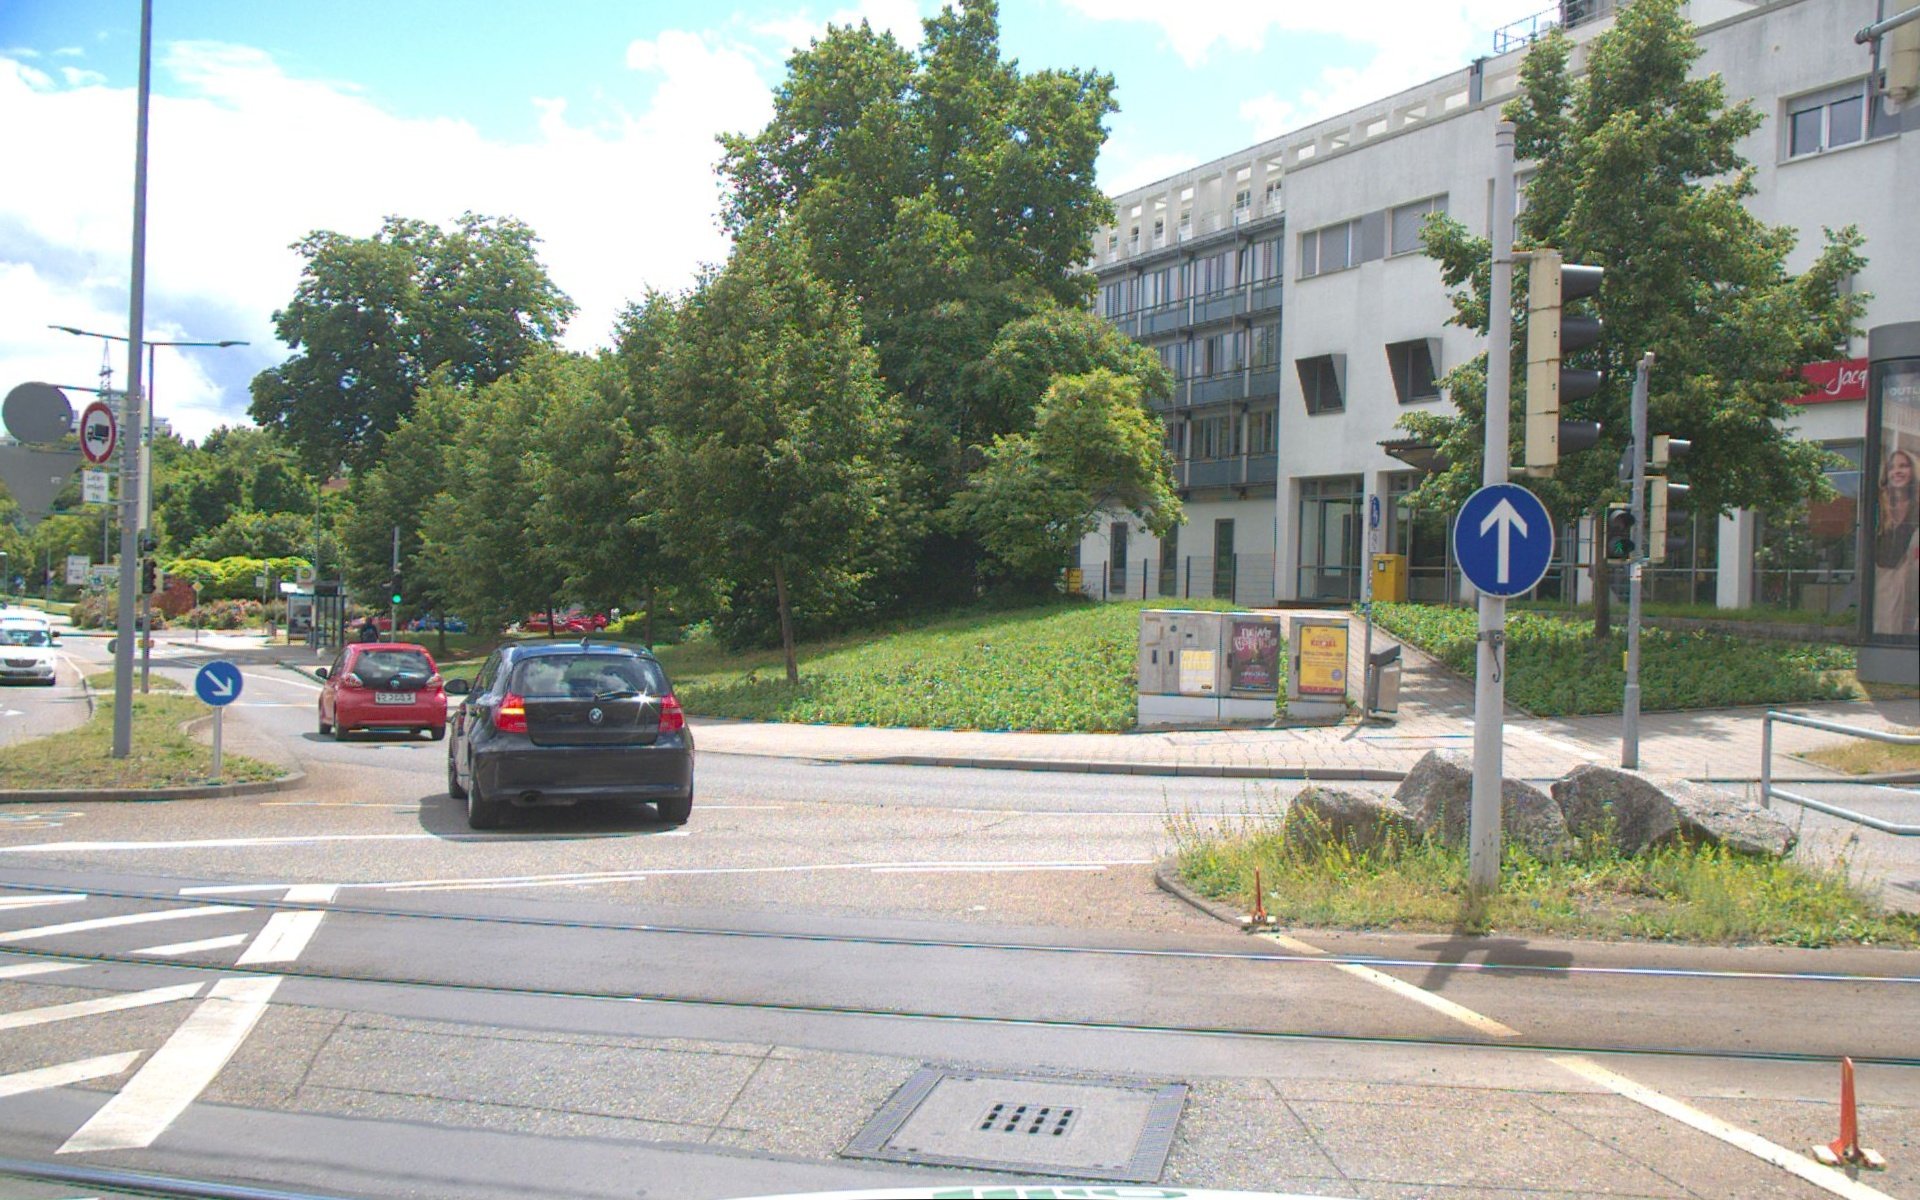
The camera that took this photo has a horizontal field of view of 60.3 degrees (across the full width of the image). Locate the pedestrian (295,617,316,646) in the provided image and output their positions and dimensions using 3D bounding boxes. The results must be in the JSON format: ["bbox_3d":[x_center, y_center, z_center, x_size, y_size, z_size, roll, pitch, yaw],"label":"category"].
[{"bbox_3d":[-30.208,1.455,76.328,0.818,1.281,0.680,1,0,-28],"label":"pedestrian"}]

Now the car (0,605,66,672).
[{"bbox_3d":[-29.377,1.164,52.248,1.745,1.691,4.459,0,4,-32],"label":"car"}]

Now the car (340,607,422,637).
[{"bbox_3d":[-33.951,1.294,97.032,4.123,1.588,1.975,1,2,-36],"label":"car"}]

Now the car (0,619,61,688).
[{"bbox_3d":[-24.725,1.372,43.408,1.683,1.678,4.033,2,-1,-32],"label":"car"}]

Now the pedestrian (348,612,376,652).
[{"bbox_3d":[-22.001,1.165,60.830,0.811,1.450,0.821,1,-1,-30],"label":"pedestrian"}]

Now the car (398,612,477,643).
[{"bbox_3d":[-28.445,1.477,90.028,3.759,1.482,1.875,-1,2,-33],"label":"car"}]

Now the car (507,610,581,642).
[{"bbox_3d":[-23.441,1.452,93.324,3.652,1.672,1.809,1,1,-33],"label":"car"}]

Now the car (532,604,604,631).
[{"bbox_3d":[-24.548,1.081,103.572,4.042,1.528,1.978,0,2,-33],"label":"car"}]

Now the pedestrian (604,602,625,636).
[{"bbox_3d":[-18.314,1.010,87.759,0.971,1.791,0.853,0,-1,-21],"label":"pedestrian"}]

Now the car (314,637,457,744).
[{"bbox_3d":[-9.075,1.358,26.002,1.744,1.457,3.450,0,0,-26],"label":"car"}]

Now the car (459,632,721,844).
[{"bbox_3d":[-3.244,1.020,13.930,1.787,1.445,3.979,0,0,-18],"label":"car"}]
